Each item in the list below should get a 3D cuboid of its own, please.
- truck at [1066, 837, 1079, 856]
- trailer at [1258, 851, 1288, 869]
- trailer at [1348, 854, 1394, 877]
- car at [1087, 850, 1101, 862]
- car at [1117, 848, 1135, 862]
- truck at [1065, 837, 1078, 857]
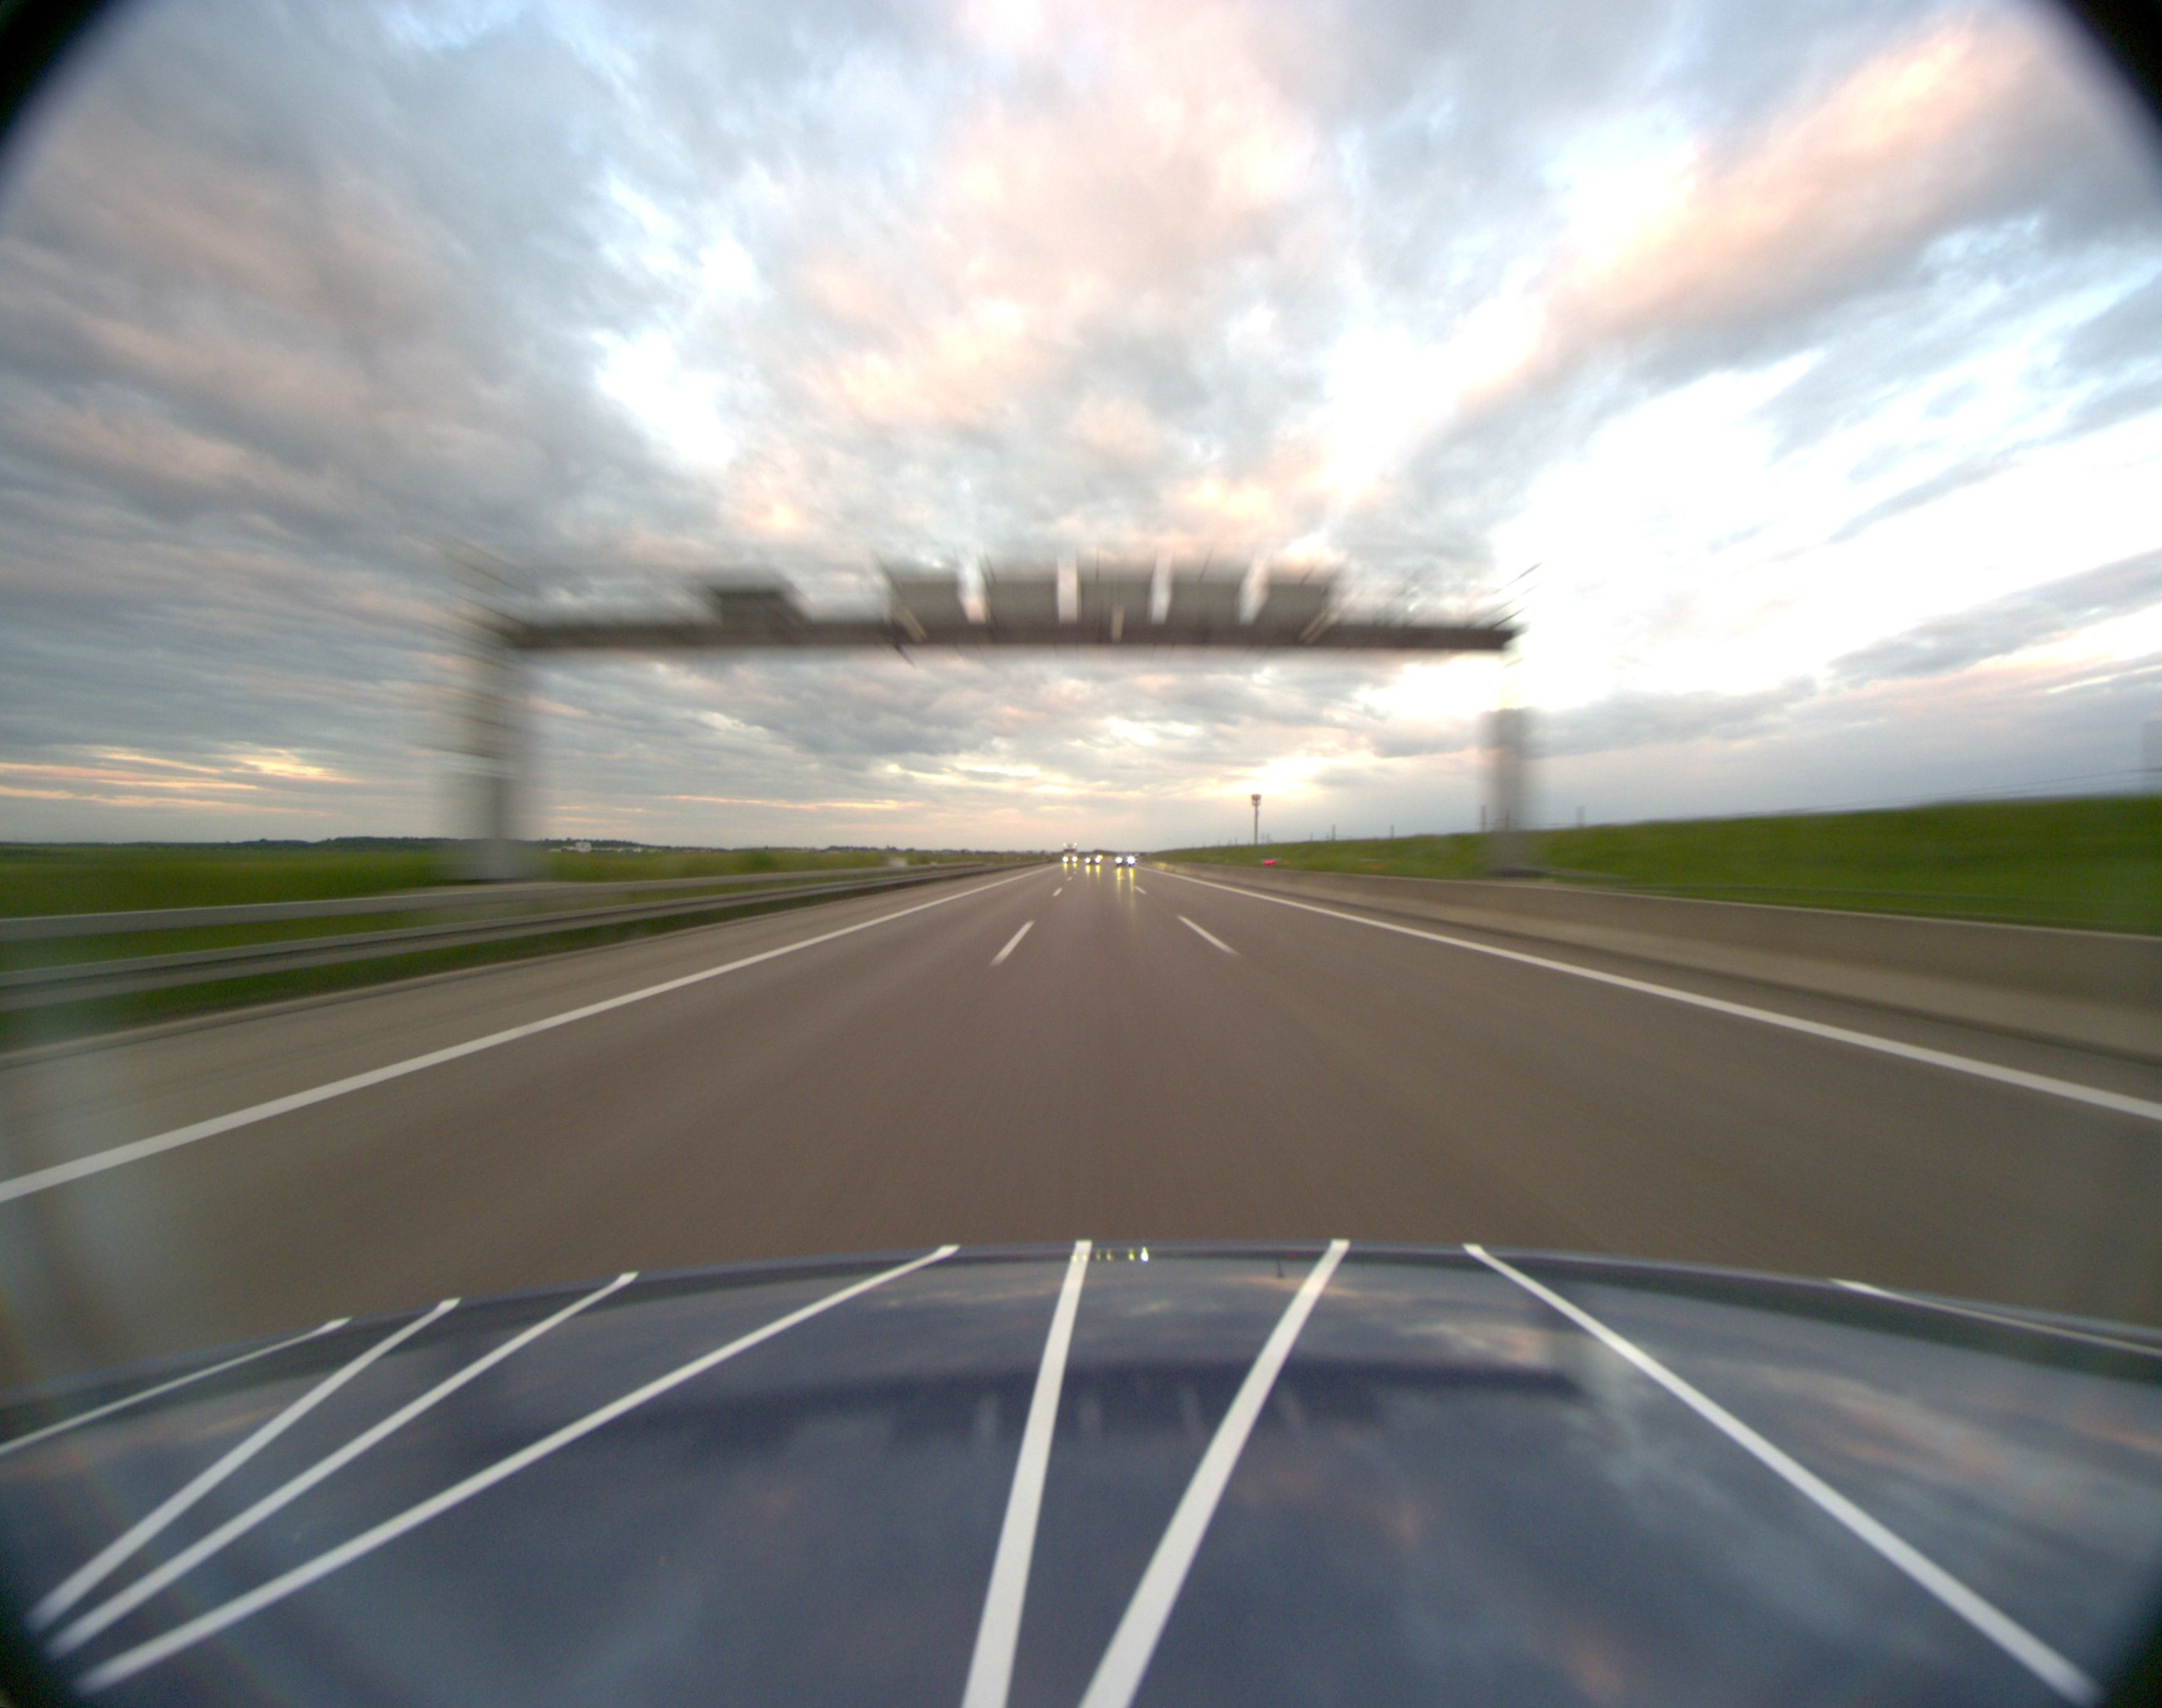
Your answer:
[{"bbox_3d":[-1.838,-1.541,168.230,2.597,3.999,12.985,-1,0,1],"label":"truck"},{"bbox_3d":[16.787,0.478,66.456,1.689,1.543,3.929,0,1,1],"label":"trailer"},{"bbox_3d":[20.011,0.776,52.599,1.722,1.455,4.000,0,1,1],"label":"trailer"},{"bbox_3d":[1.948,0.307,114.584,1.998,1.652,4.851,-2,1,1],"label":"car"},{"bbox_3d":[5.541,0.139,93.318,1.998,1.652,4.000,-2,1,1],"label":"car"},{"bbox_3d":[-1.922,-1.485,161.832,2.597,3.999,5.859,-1,0,1],"label":"truck"}]
